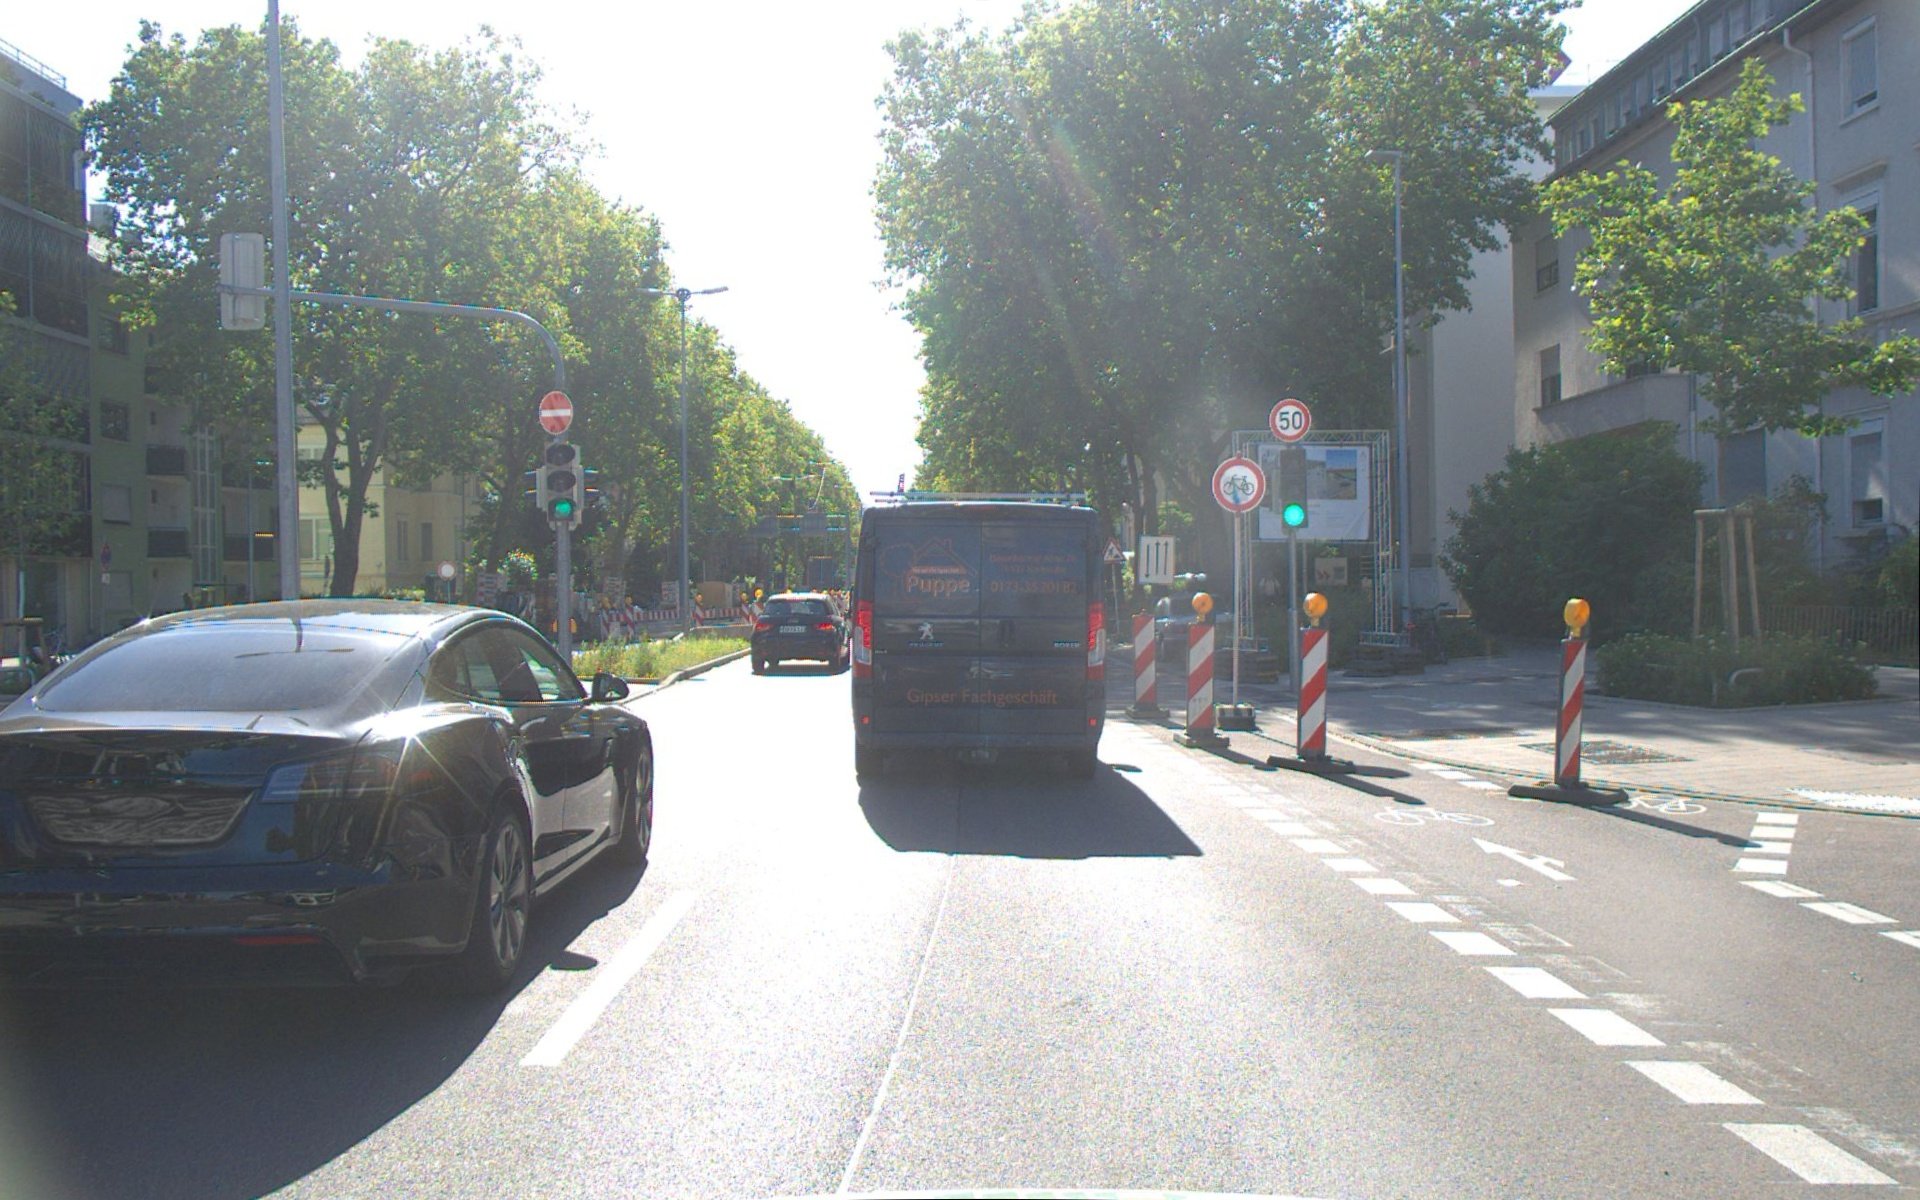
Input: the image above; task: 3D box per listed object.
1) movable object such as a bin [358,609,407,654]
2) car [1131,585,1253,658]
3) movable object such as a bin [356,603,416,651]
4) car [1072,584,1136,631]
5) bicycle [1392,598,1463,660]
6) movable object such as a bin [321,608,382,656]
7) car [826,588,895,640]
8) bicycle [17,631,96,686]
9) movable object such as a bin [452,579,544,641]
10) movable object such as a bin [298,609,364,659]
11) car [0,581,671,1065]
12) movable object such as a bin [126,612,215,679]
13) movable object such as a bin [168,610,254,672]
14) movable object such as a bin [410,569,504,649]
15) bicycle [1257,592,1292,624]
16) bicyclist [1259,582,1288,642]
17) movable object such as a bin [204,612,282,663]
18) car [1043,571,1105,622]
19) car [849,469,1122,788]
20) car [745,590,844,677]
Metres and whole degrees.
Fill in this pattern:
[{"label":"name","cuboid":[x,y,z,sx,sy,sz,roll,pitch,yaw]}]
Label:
[{"label":"movable object such as a bin","cuboid":[-17.448,0.945,50.024,0.960,1.293,1.540,-1,0,-1]},{"label":"car","cuboid":[5.142,0.435,37.276,1.815,1.505,4.939,-1,0,-3]},{"label":"movable object such as a bin","cuboid":[-17.994,0.826,51.831,1.611,1.447,1.252,-1,0,-27]},{"label":"car","cuboid":[4.874,0.240,56.499,1.728,1.534,4.250,-1,0,-1]},{"label":"bicycle","cuboid":[8.112,0.482,28.637,0.577,1.022,2.126,-1,0,33]},{"label":"movable object such as a bin","cuboid":[-17.537,0.917,47.685,1.381,1.361,0.936,-1,0,1]},{"label":"car","cuboid":[-2.996,0.393,50.588,1.872,1.469,4.602,-1,0,-1]},{"label":"bicycle","cuboid":[-18.919,1.212,34.680,0.614,1.055,1.879,-1,0,0]},{"label":"movable object such as a bin","cuboid":[-18.441,0.363,66.296,1.952,2.318,5.599,-2,0,1]},{"label":"movable object such as a bin","cuboid":[-17.702,0.938,46.594,1.381,1.361,1.157,-1,0,1]},{"label":"car","cuboid":[-2.591,0.649,7.288,1.886,1.436,4.625,-1,1,-1]},{"label":"movable object such as a bin","cuboid":[-17.757,1.008,37.247,1.091,1.412,1.856,-1,0,0]},{"label":"movable object such as a bin","cuboid":[-17.900,0.959,39.580,1.189,1.412,1.856,-1,0,0]},{"label":"movable object such as a bin","cuboid":[-18.203,0.286,60.119,2.104,2.753,5.350,-1,0,-4]},{"label":"bicycle","cuboid":[9.915,0.252,52.236,0.766,0.983,1.823,-1,0,1]},{"label":"bicyclist","cuboid":[9.913,0.376,52.312,0.709,1.852,1.070,-1,0,0]},{"label":"movable object such as a bin","cuboid":[-17.900,0.927,41.318,1.365,1.224,1.241,-1,0,2]},{"label":"car","cuboid":[4.653,-0.146,68.173,1.985,1.980,5.271,-1,0,-2]},{"label":"car","cuboid":[0.124,0.176,14.419,2.053,2.396,3.932,0,1,-2]},{"label":"car","cuboid":[-3.149,0.597,32.043,1.711,1.431,3.999,0,2,-3]}]
